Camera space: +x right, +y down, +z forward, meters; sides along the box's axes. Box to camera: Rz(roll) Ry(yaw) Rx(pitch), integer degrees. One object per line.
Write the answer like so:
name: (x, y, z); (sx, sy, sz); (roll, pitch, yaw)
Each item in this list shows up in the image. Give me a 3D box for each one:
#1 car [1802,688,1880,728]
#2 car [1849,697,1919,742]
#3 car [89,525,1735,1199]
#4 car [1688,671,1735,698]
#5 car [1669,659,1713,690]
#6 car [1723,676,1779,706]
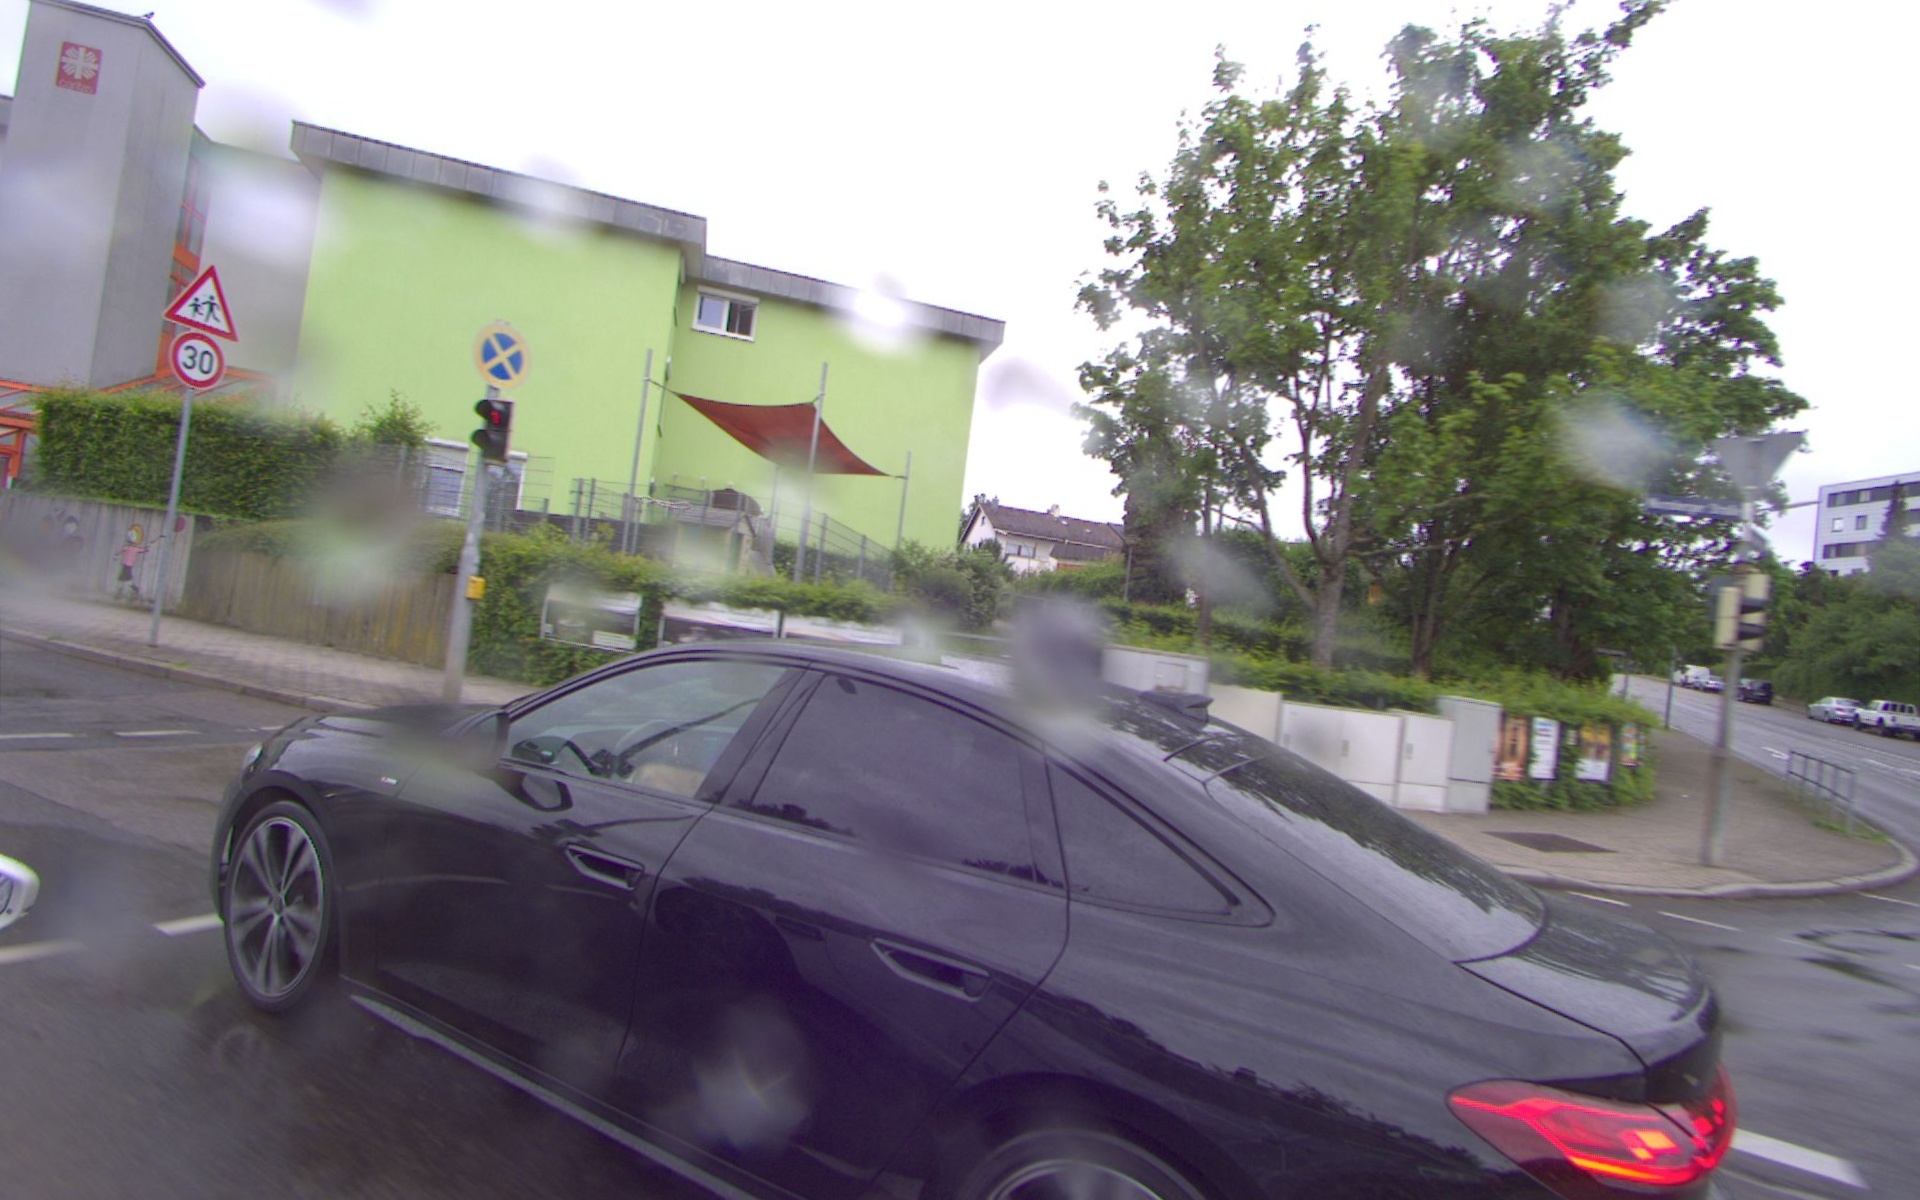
car: (49.958, 6.081, 57.169); (1.963, 1.828, 3.999); (6, -1, 22)
car: (47.234, 6.051, 50.835); (1.963, 1.900, 4.210); (6, -1, 22)
car: (-0.611, 0.720, 3.296); (4.659, 1.440, 1.871); (5, -2, 30)
car: (61.720, 6.920, 82.715); (1.963, 1.828, 3.999); (6, -1, 22)
car: (63.854, 6.454, 87.910); (1.963, 2.417, 3.999); (6, -1, 22)
car: (56.875, 6.518, 72.399); (1.963, 1.828, 3.999); (6, -1, 22)
